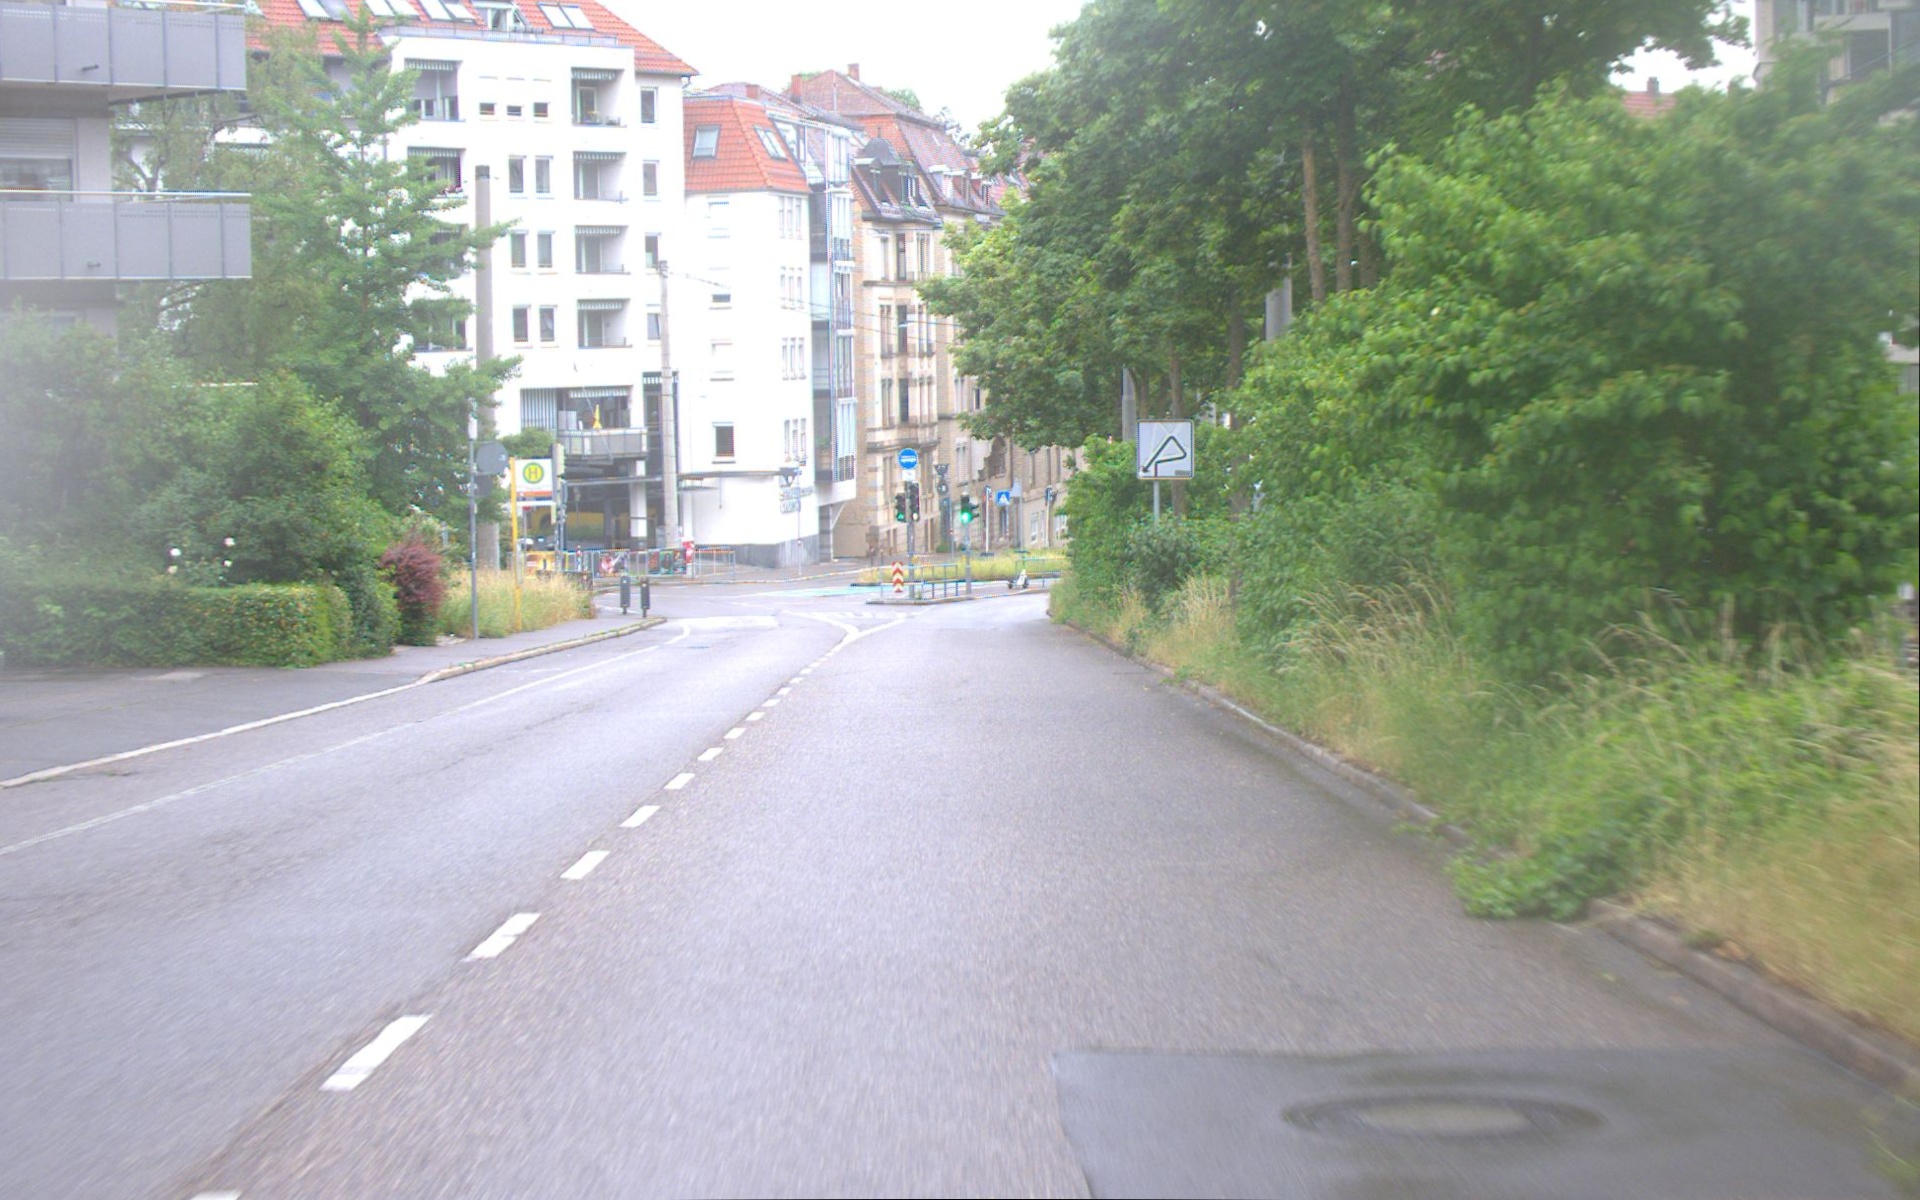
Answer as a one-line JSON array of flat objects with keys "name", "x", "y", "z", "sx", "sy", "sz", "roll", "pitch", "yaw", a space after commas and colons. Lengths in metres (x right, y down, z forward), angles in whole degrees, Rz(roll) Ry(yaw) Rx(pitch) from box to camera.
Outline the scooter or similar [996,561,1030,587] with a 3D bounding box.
[{"name": "scooter or similar", "x": 1.628, "y": -0.801, "z": 105.483, "sx": 0.485, "sy": 0.759, "sz": 1.328, "roll": -1, "pitch": 1, "yaw": 28}]

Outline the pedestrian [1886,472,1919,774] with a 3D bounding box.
[{"name": "pedestrian", "x": 5.589, "y": 0.120, "z": 19.380, "sx": 0.563, "sy": 1.681, "sz": 0.525, "roll": -1, "pitch": 1, "yaw": -1}]

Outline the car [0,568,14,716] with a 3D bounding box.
[{"name": "car", "x": -10.913, "y": 0.423, "z": 32.106, "sx": 3.631, "sy": 1.402, "sz": 1.783, "roll": -1, "pitch": 0, "yaw": 2}]
